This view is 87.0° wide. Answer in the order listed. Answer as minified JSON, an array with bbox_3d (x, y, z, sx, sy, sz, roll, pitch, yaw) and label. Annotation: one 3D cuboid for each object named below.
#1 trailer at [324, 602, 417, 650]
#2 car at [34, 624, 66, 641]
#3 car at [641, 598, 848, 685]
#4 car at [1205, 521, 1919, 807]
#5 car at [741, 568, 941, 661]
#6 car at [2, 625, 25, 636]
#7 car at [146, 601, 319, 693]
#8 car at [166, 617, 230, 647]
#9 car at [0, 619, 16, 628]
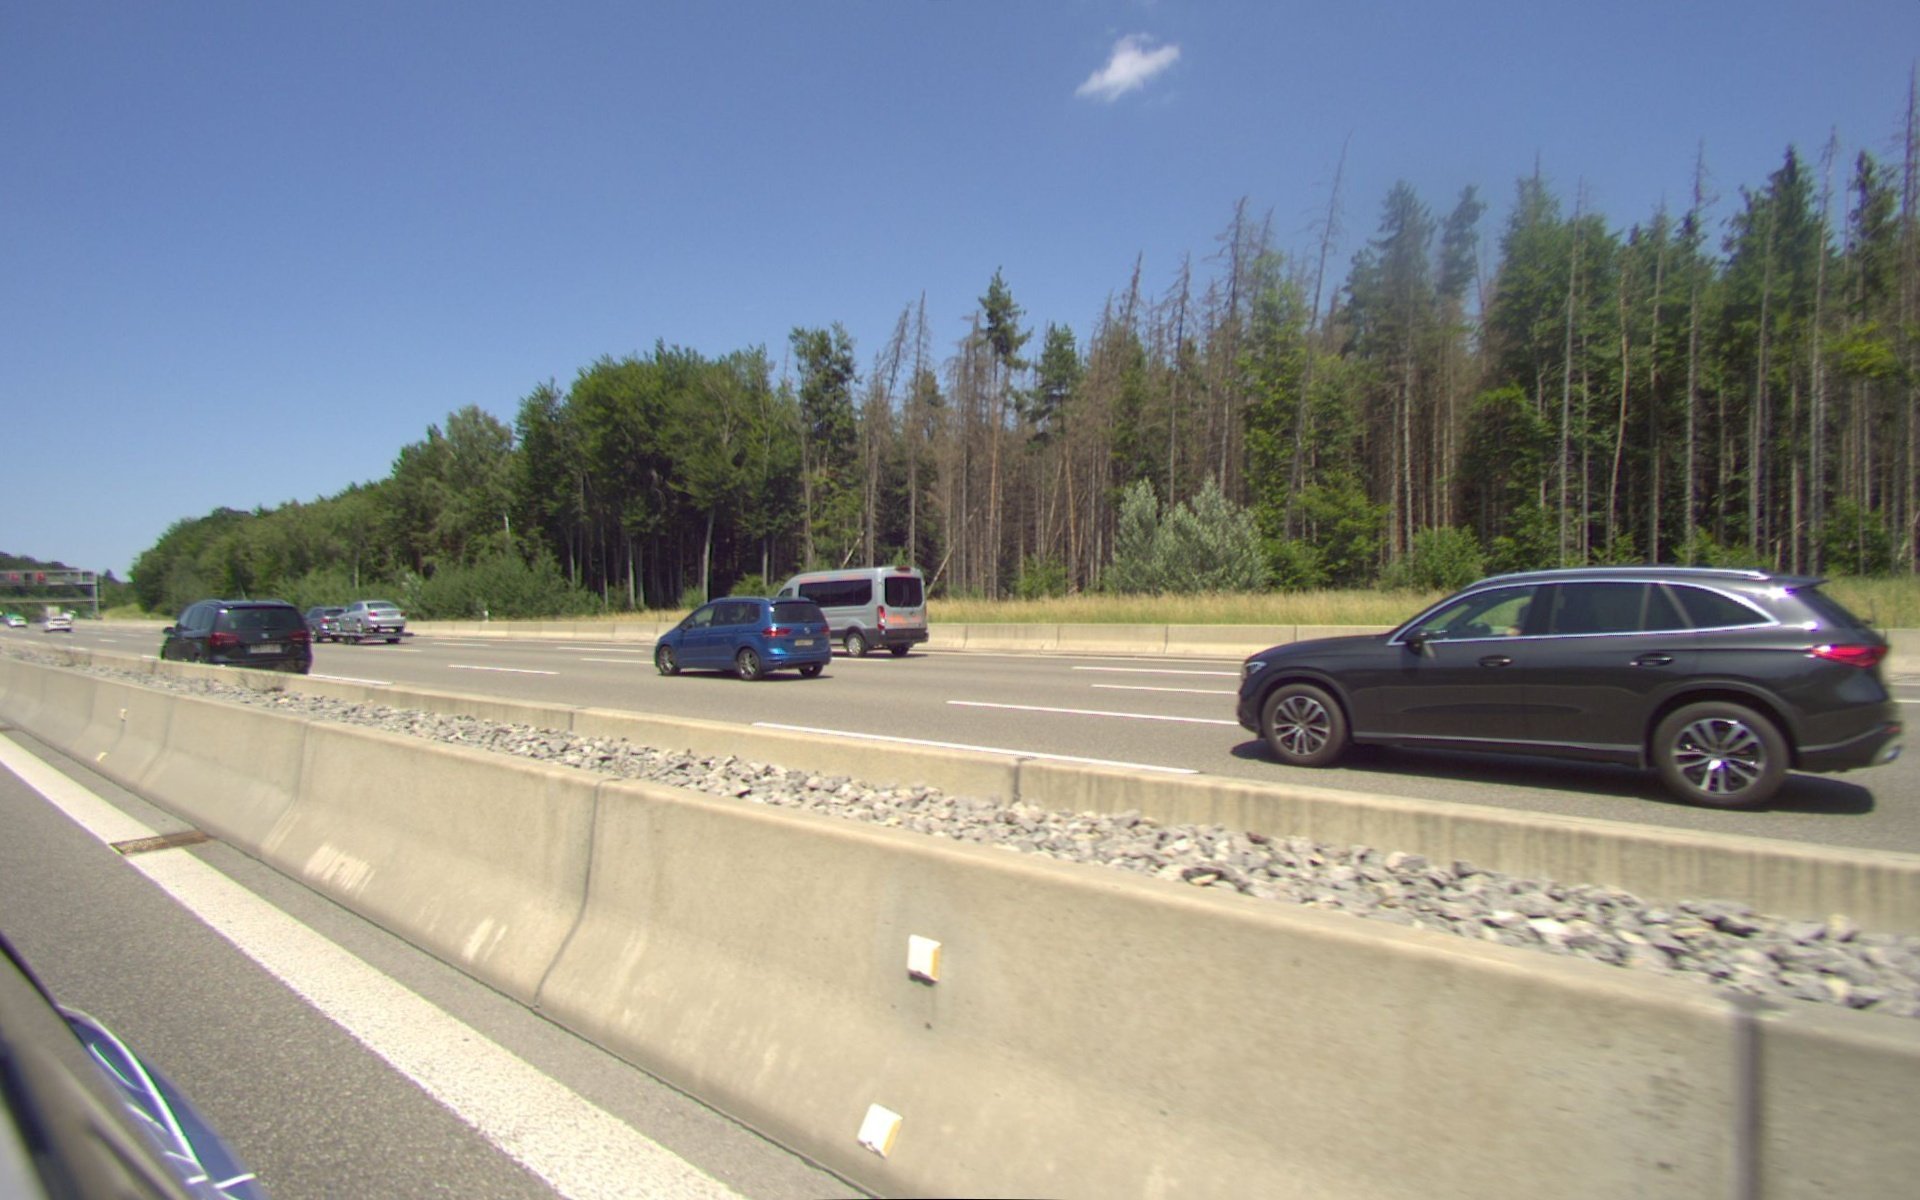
[{"bbox_3d":[-27.245,1.164,46.662,6.149,2.066,1.835,-1,-1,41],"label":"trailer"},{"bbox_3d":[-84.575,2.987,94.041,4.781,1.475,1.711,-1,-1,41],"label":"car"},{"bbox_3d":[-4.539,0.802,20.866,4.670,1.582,1.711,-1,-1,41],"label":"car"},{"bbox_3d":[4.692,0.412,8.190,5.001,1.711,1.809,-1,0,41],"label":"car"},{"bbox_3d":[-3.595,0.428,29.395,6.340,2.431,1.928,-1,-1,40],"label":"car"},{"bbox_3d":[-126.790,4.057,135.572,3.867,1.410,1.972,-1,0,43],"label":"car"},{"bbox_3d":[-15.163,0.907,20.972,5.042,1.690,1.830,-1,-1,41],"label":"car"},{"bbox_3d":[-38.943,1.616,51.669,4.574,1.475,1.711,-1,-1,41],"label":"car"},{"bbox_3d":[-155.584,3.877,165.341,2.907,1.364,1.628,-1,0,42],"label":"car"}]
